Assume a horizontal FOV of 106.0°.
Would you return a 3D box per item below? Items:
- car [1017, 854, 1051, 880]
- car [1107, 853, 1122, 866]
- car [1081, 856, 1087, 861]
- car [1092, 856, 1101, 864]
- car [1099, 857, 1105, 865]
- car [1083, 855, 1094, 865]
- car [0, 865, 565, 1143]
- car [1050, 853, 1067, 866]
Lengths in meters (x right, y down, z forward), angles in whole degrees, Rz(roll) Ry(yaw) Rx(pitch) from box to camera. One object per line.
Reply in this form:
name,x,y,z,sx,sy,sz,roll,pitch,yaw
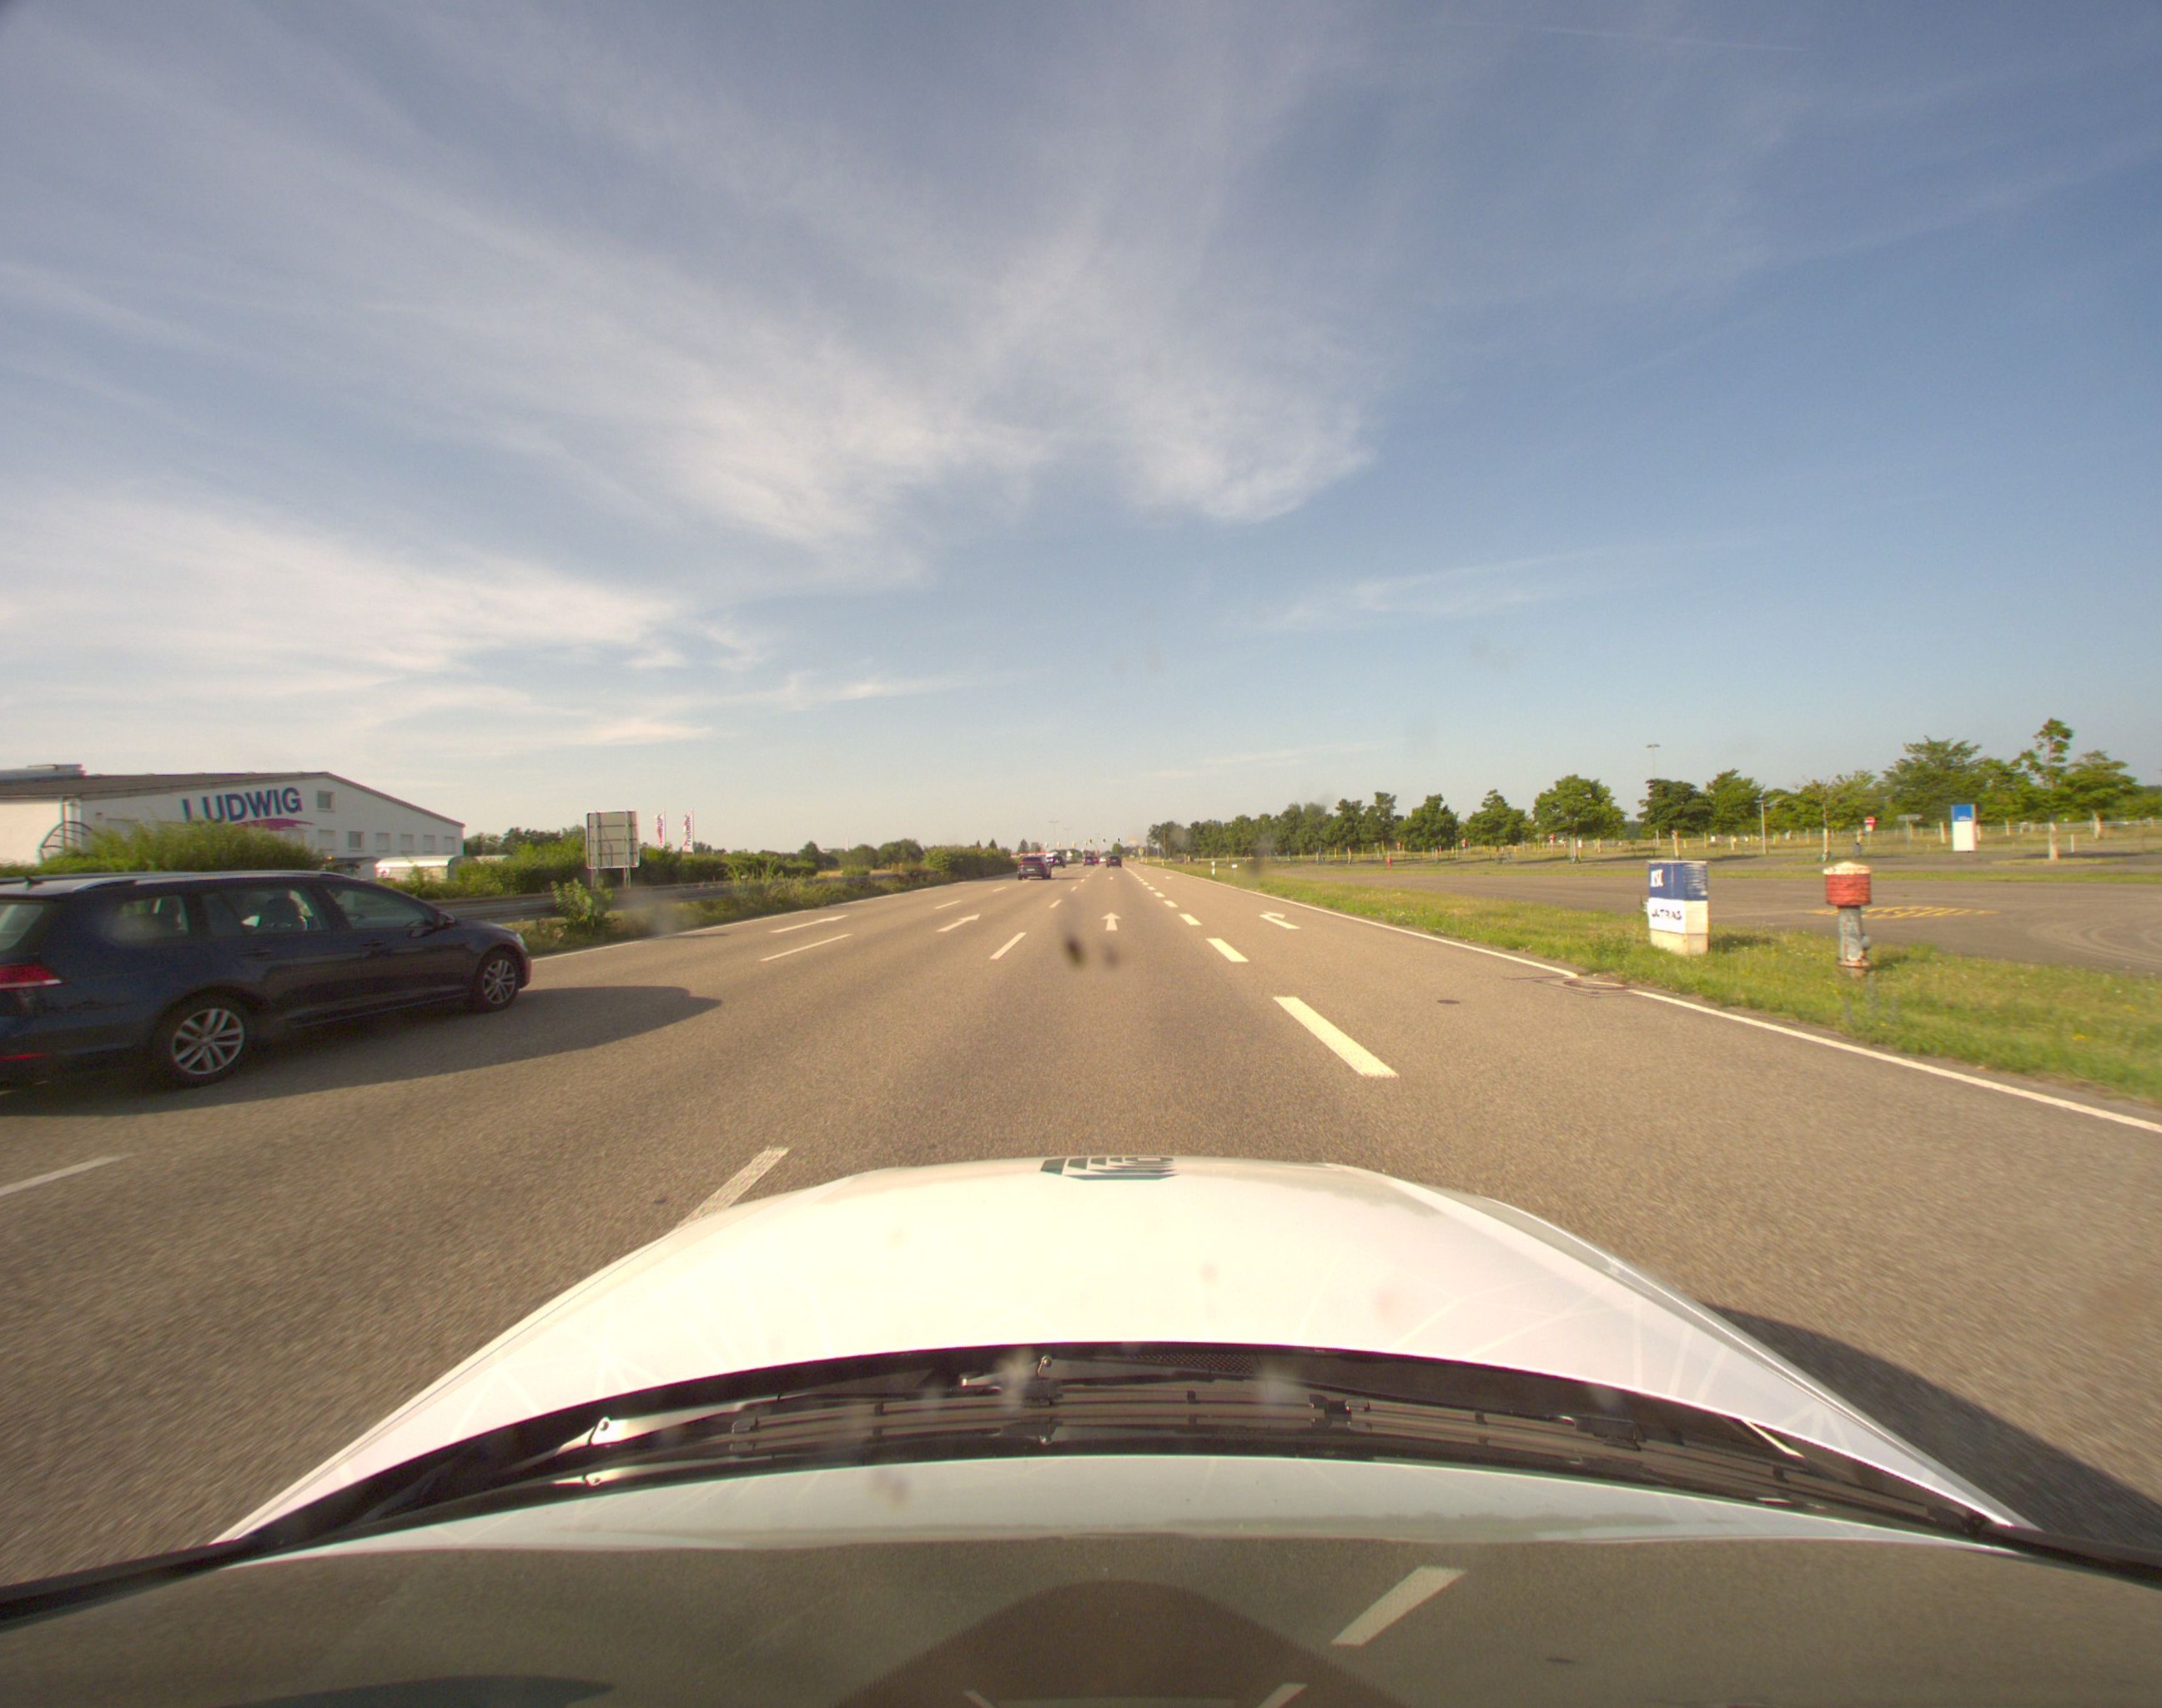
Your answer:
car,-3.045,0.799,53.562,1.839,1.612,4.403,0,0,2
car,4.431,0.752,107.996,1.925,1.680,4.403,-2,0,2
car,0.969,1.305,244.183,1.594,1.532,4.002,0,0,2
car,3.035,1.227,161.981,1.641,1.463,3.982,0,0,2
car,5.226,1.761,204.035,1.639,1.728,3.402,-1,-1,1
car,1.256,0.986,134.304,1.806,1.463,4.403,0,0,2
car,-6.723,0.885,6.785,1.640,1.471,4.778,-2,0,2
car,-3.058,0.782,111.595,1.925,1.680,4.403,0,0,2
